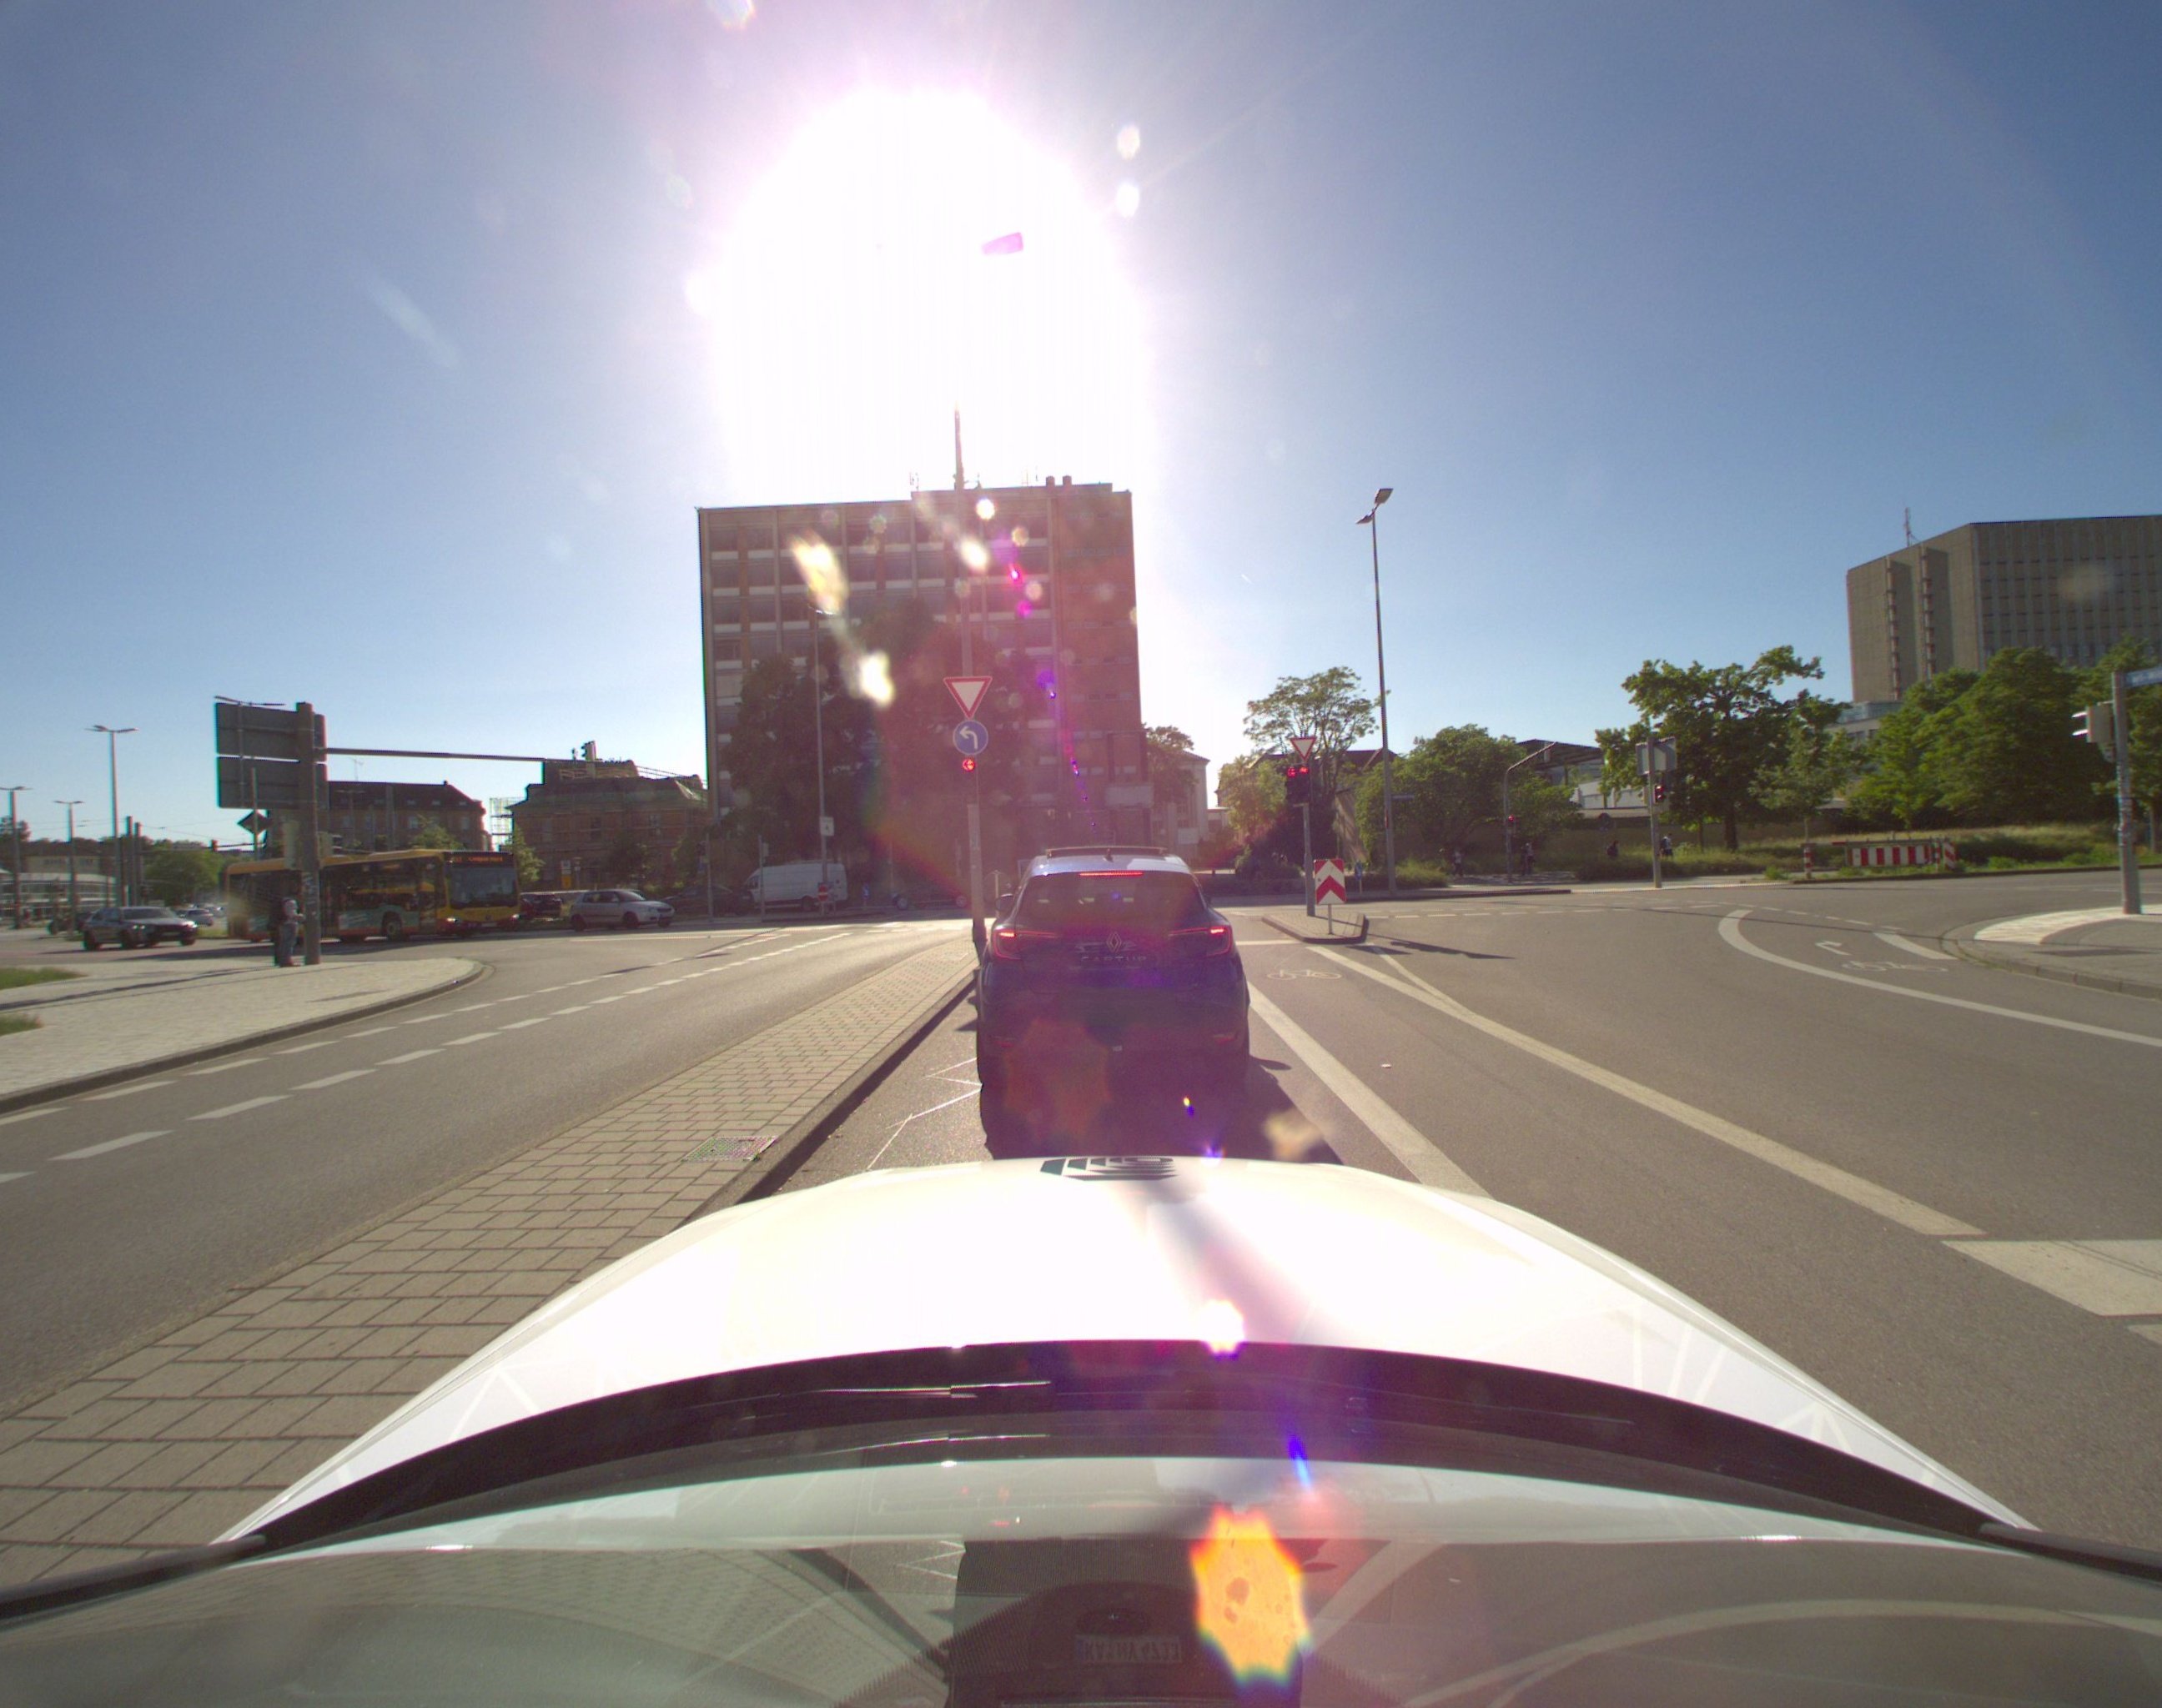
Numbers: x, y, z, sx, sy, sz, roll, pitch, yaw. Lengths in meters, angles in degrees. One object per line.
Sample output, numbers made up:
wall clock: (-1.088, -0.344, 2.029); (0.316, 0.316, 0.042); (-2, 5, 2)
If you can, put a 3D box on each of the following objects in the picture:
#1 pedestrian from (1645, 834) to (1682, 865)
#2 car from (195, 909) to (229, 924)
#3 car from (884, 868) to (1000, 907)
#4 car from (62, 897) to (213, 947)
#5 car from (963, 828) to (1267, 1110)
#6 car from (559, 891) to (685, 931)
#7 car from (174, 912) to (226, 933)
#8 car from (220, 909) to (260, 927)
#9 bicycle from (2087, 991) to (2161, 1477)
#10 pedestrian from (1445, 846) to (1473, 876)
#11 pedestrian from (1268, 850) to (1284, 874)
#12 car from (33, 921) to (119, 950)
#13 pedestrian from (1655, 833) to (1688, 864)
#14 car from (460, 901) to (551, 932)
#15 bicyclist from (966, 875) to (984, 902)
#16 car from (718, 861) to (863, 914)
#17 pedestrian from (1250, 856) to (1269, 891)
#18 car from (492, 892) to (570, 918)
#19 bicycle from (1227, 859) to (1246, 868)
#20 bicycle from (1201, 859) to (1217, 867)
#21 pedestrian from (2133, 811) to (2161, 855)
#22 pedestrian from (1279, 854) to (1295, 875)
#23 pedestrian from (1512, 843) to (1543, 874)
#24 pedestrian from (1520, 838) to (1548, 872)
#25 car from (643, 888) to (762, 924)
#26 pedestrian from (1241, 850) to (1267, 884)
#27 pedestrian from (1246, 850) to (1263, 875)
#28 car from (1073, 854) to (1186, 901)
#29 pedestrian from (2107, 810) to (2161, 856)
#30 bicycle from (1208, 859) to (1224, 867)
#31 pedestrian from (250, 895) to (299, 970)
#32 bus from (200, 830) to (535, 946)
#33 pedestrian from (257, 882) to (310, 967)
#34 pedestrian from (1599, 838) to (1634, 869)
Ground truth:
pedestrian: (29.936, -0.222, 41.878); (1.123, 1.521, 0.992); (-2, -1, 5)
car: (-102.274, 7.331, 95.849); (3.948, 1.582, 2.013); (-1, -1, 33)
car: (-6.479, 1.544, 38.068); (4.807, 1.582, 2.110); (-3, 0, 15)
car: (-40.088, 2.874, 34.656); (4.697, 1.861, 2.011); (-3, -1, 10)
car: (0.233, 0.682, 6.775); (1.788, 1.655, 3.853); (-1, 0, 1)
car: (-16.764, 2.076, 29.792); (3.814, 1.403, 1.900); (-2, -3, 17)
car: (-71.180, 5.511, 65.784); (3.863, 1.448, 2.115); (-3, -1, 31)
car: (-83.376, 6.328, 80.753); (3.948, 1.582, 2.013); (-1, -1, 33)
bicycle: (2.868, 0.908, 1.150); (0.613, 1.138, 1.826); (-2, 0, 0)
pedestrian: (19.629, 0.352, 42.360); (1.078, 1.521, 0.933); (-2, -1, 11)
pedestrian: (15.106, 0.621, 63.185); (0.949, 1.741, 0.984); (-2, -1, 2)
car: (-74.962, 6.076, 60.768); (3.976, 1.772, 1.782); (-3, 0, -2)
pedestrian: (29.803, -0.271, 41.113); (0.966, 1.521, 0.887); (-2, -1, 5)
car: (-31.191, 3.368, 44.165); (4.010, 1.439, 2.076); (-3, 0, 20)
bicyclist: (-5.767, 1.876, 44.328); (0.642, 1.412, 0.641); (-1, -4, -41)
car: (-15.850, 1.800, 44.514); (6.880, 2.547, 3.027); (-3, 0, 17)
pedestrian: (9.788, 1.080, 44.726); (0.926, 1.855, 0.809); (-3, -1, 11)
car: (-35.158, 3.231, 52.054); (4.011, 1.439, 2.076); (-3, 0, 19)
bicycle: (15.815, 0.935, 82.936); (1.770, 0.823, 0.763); (-2, -1, -9)
bicycle: (15.560, 1.097, 99.118); (1.764, 0.893, 0.766); (-2, -1, 2)
pedestrian: (52.367, -1.020, 39.751); (0.891, 2.079, 0.814); (-2, -1, 5)
pedestrian: (15.817, 0.792, 62.474); (0.932, 1.613, 1.176); (-2, -1, 2)
pedestrian: (22.488, 0.231, 41.018); (1.069, 1.521, 0.880); (-2, -1, 6)
pedestrian: (23.482, 0.050, 42.245); (0.957, 1.732, 0.928); (-2, -1, 8)
car: (-18.412, 2.509, 39.648); (4.995, 1.673, 2.006); (-1, -3, 12)
pedestrian: (9.694, 0.724, 45.562); (1.288, 1.855, 0.969); (-3, -1, 13)
pedestrian: (14.195, 0.689, 66.715); (1.152, 2.013, 1.165); (-2, -1, 2)
car: (2.350, 1.114, 38.804); (4.963, 2.013, 2.080); (-3, 0, 14)
pedestrian: (49.652, -0.975, 38.388); (1.181, 2.079, 0.983); (-2, -1, 5)
bicycle: (15.705, 1.043, 94.748); (1.764, 0.898, 0.766); (-2, -1, 2)
pedestrian: (-19.103, 1.842, 19.285); (0.627, 1.697, 0.608); (-3, -1, 25)
bus: (-25.775, 1.286, 29.289); (12.320, 3.570, 3.266); (-3, -1, 19)
pedestrian: (-18.228, 1.601, 18.617); (0.673, 1.855, 0.608); (-3, -1, 25)
pedestrian: (27.047, -0.029, 41.174); (1.140, 1.521, 0.944); (-2, -1, 7)
